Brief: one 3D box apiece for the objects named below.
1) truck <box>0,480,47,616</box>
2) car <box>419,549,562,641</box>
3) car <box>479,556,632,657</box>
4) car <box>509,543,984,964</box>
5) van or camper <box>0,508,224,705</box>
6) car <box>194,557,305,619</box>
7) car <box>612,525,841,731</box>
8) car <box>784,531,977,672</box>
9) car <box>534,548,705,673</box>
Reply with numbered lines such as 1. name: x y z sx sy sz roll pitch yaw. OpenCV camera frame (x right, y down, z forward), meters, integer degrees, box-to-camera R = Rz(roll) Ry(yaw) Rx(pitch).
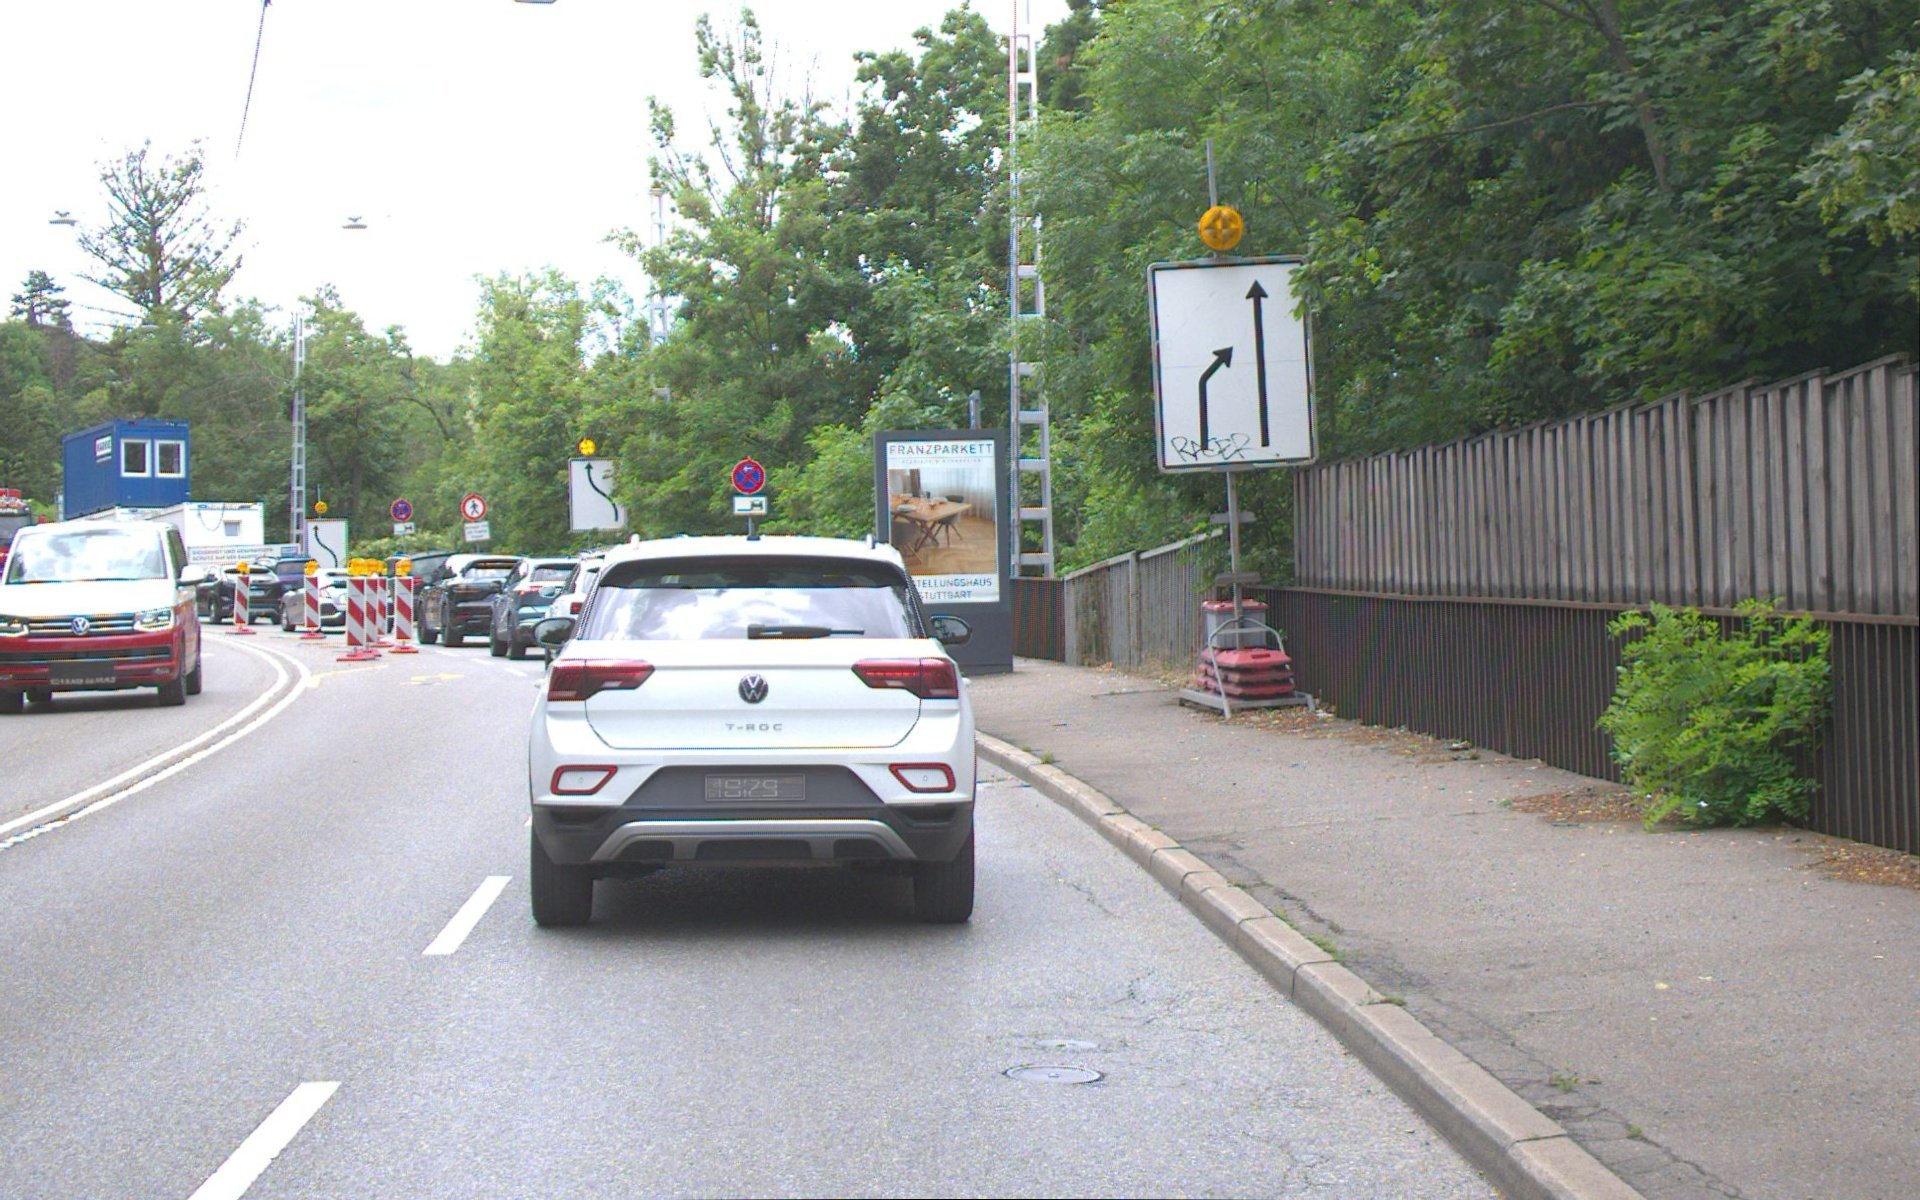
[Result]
1. truck: -28.224 -1.466 97.757 2.944 3.685 9.921 0 0 -23
2. car: -8.515 -0.125 62.117 1.993 1.551 4.152 -1 1 -15
3. car: -6.163 0.097 52.753 1.993 1.409 4.151 -2 0 -3
4. car: -0.921 0.550 14.715 1.757 1.550 3.796 0 1 -4
5. van or camper: -8.992 0.044 36.435 1.889 1.872 4.766 -2 1 -8
6. car: -17.716 -0.287 85.610 1.993 1.445 4.151 -2 0 -21
7. car: -2.023 0.203 28.933 1.757 1.604 3.796 0 1 -6
8. car: -0.998 -0.014 40.888 1.765 1.516 4.394 -3 1 -8
9. car: -4.245 0.105 42.446 1.757 1.466 3.796 -1 1 -11
